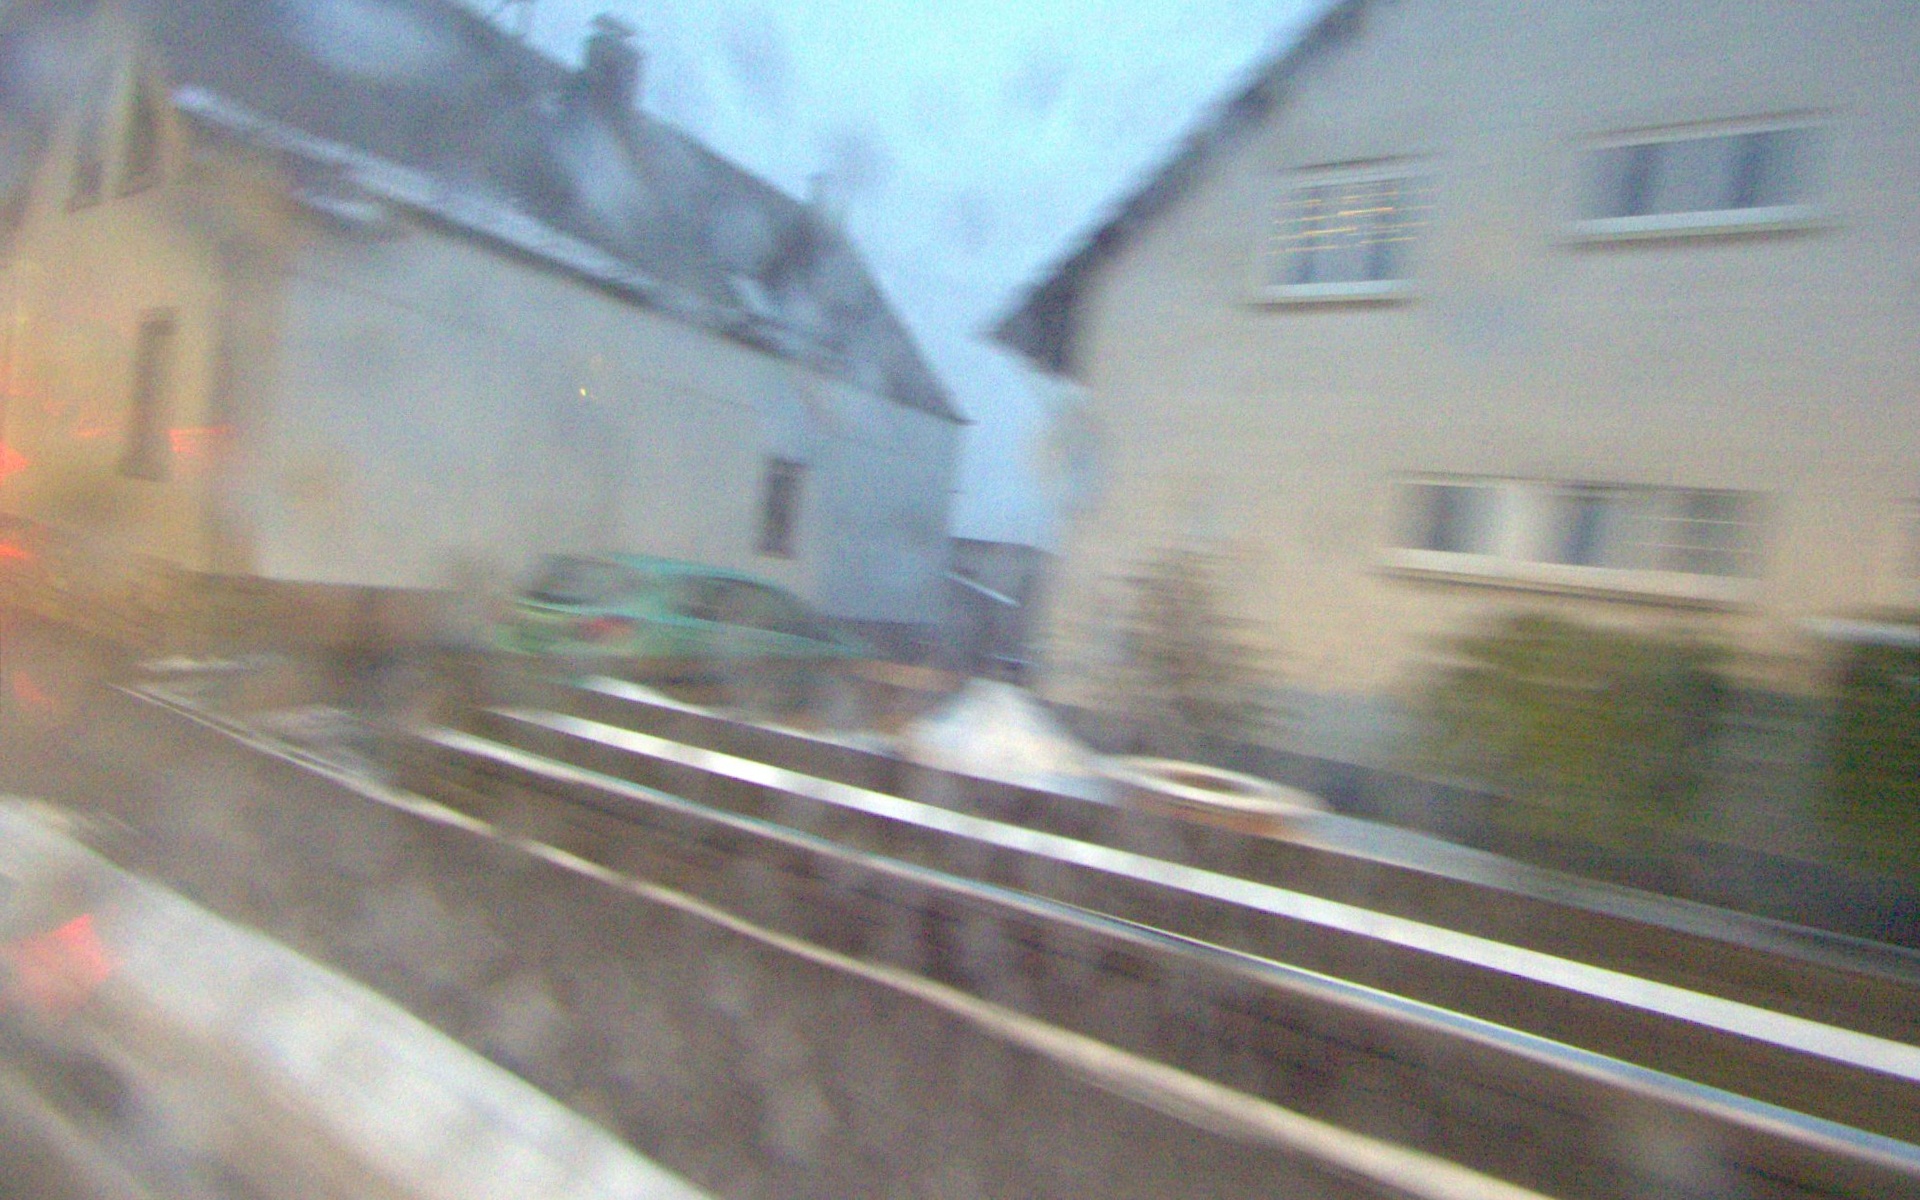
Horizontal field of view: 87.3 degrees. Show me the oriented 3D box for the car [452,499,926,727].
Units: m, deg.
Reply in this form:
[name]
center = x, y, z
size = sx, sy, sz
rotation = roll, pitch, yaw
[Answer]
[car]
center = -2.222, 0.225, 9.306
size = 1.686, 1.470, 3.993
rotation = 11, 1, 32
